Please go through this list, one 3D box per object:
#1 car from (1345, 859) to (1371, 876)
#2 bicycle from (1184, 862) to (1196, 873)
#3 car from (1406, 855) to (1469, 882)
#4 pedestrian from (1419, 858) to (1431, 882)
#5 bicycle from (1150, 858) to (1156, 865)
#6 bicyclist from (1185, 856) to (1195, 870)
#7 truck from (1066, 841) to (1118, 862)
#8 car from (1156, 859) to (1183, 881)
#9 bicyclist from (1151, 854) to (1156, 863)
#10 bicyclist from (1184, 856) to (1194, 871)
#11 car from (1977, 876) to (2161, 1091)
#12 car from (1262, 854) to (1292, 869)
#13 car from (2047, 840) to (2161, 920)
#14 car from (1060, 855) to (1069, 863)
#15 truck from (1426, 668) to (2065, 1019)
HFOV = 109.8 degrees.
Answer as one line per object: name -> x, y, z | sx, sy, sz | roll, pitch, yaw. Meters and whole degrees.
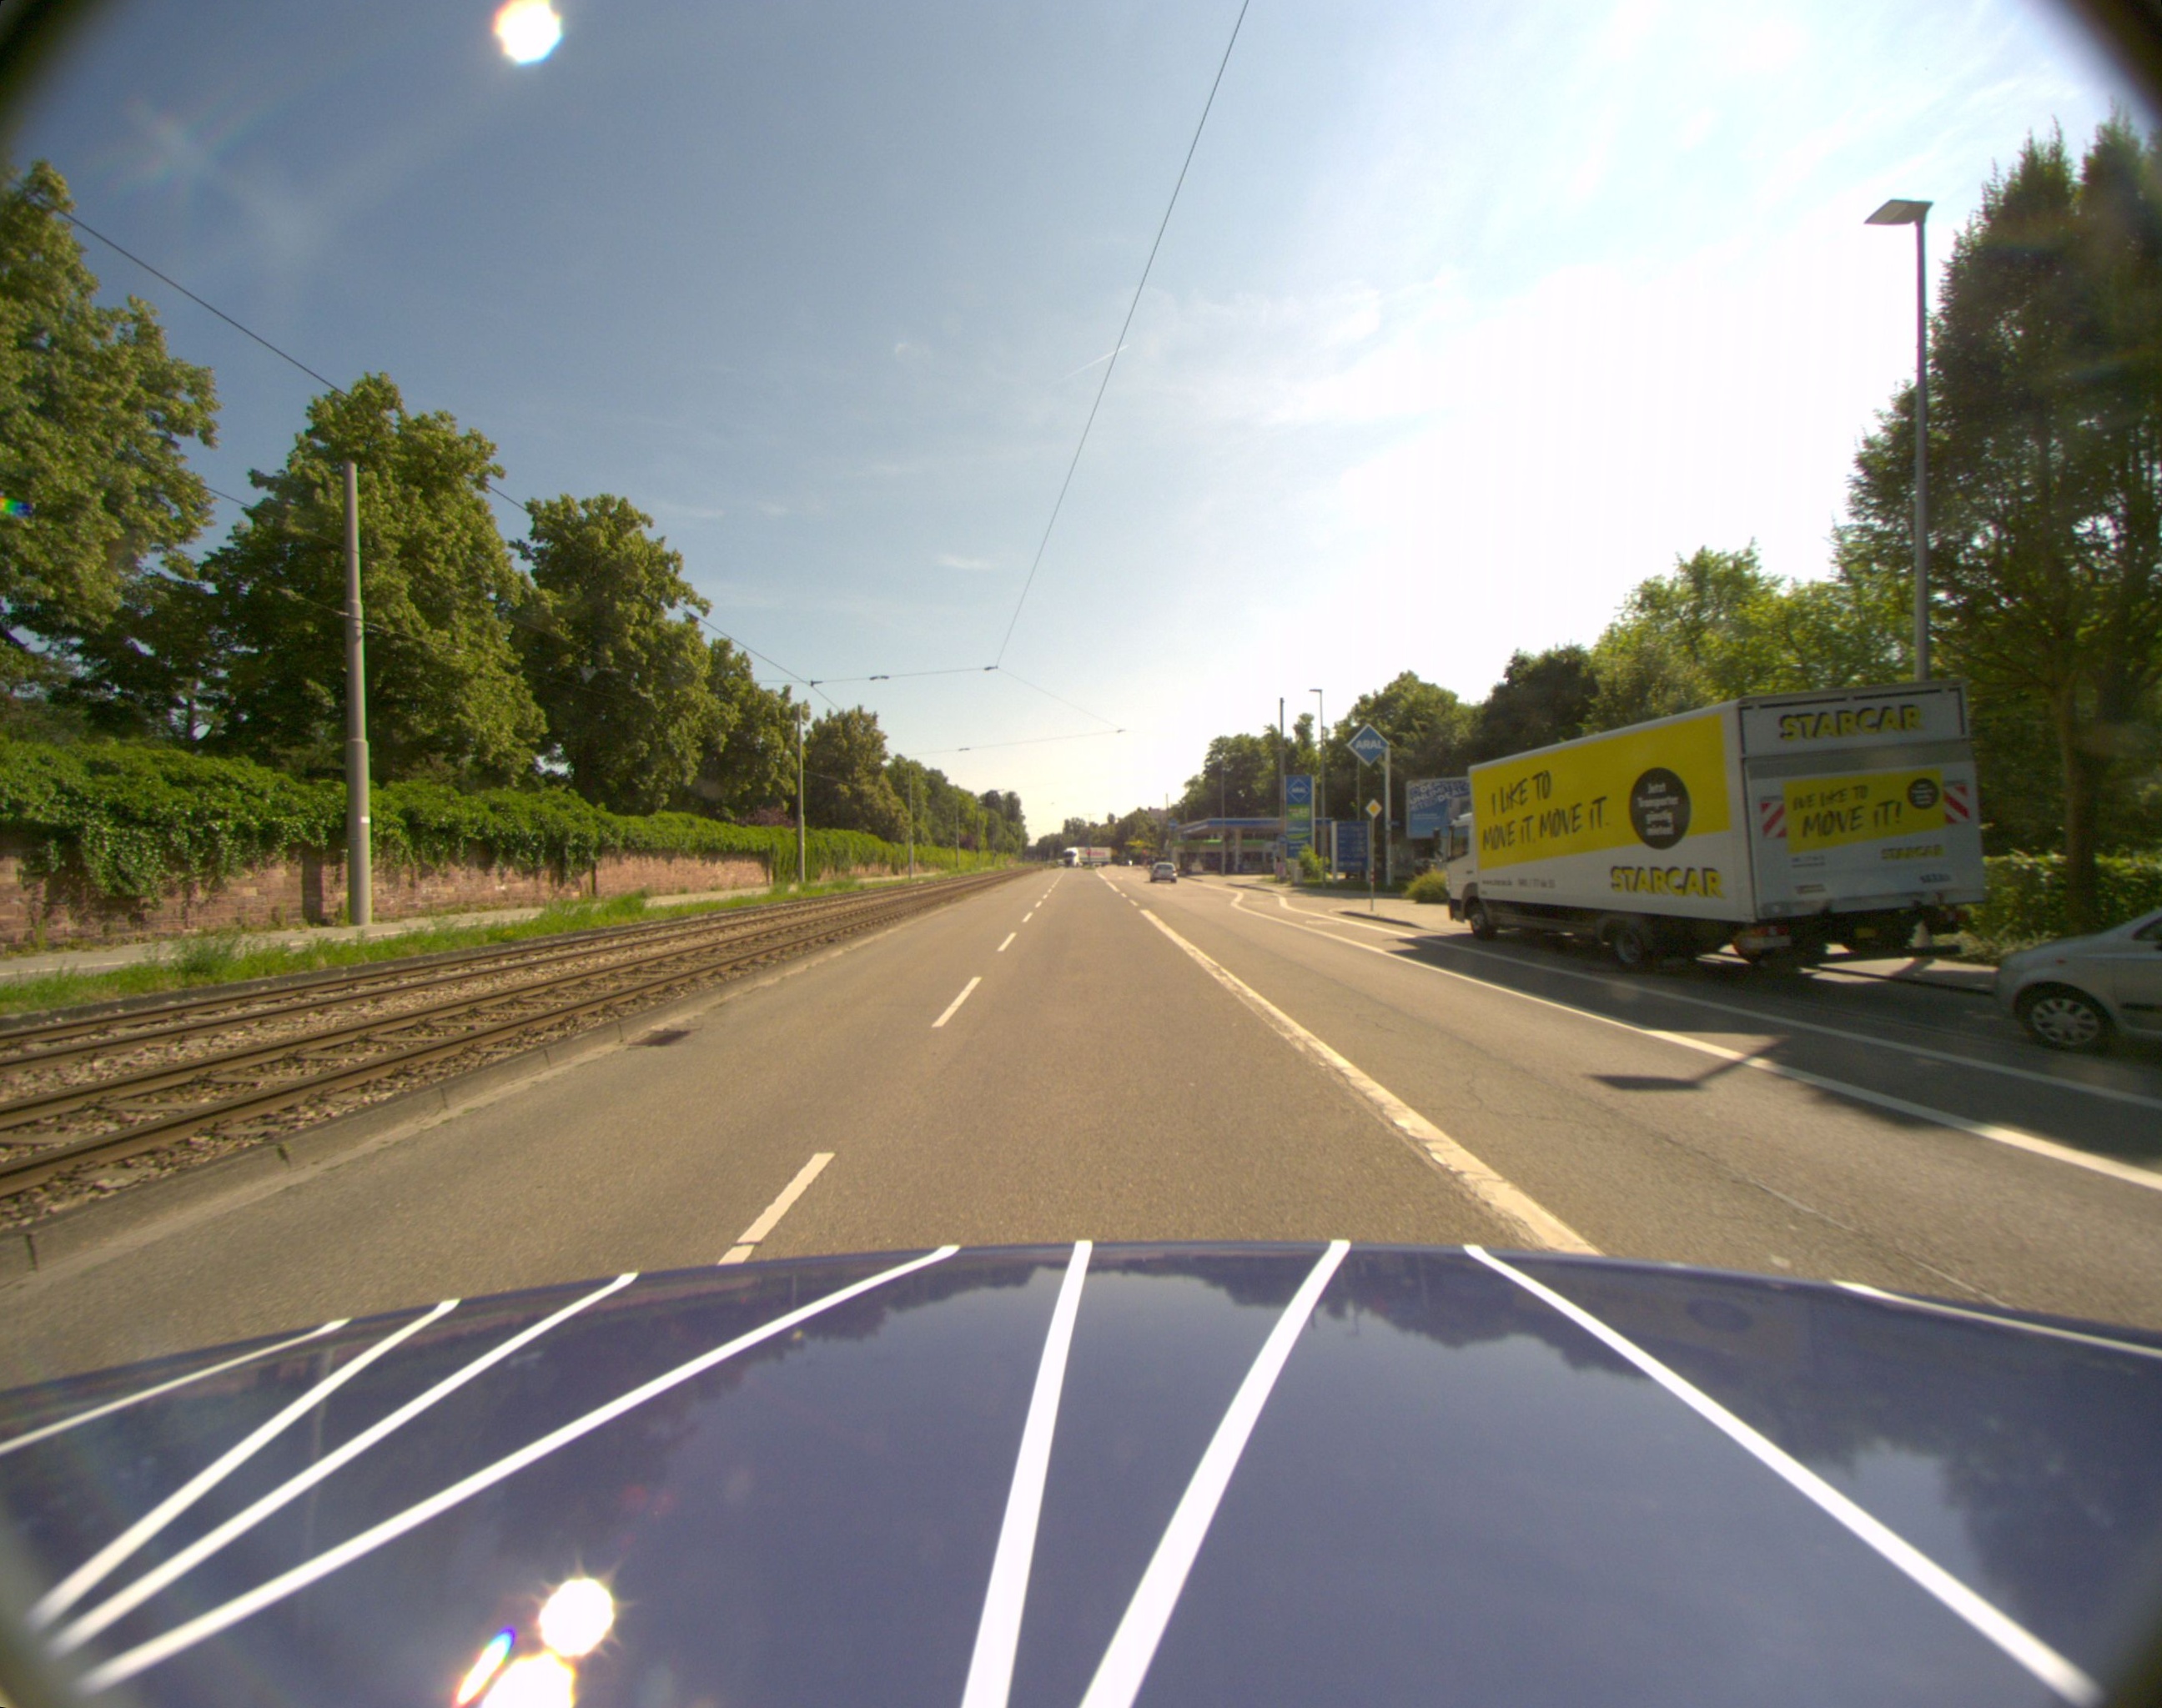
car -> 23.353, 1.125, 64.030 | 1.801, 1.338, 4.250 | 0, 0, 23
bicycle -> 10.976, 1.362, 76.623 | 0.827, 1.088, 2.773 | 0, 0, 2
car -> 22.070, 0.907, 47.208 | 1.804, 1.560, 4.518 | 0, -1, 0
pedestrian -> 20.905, 0.963, 46.161 | 0.500, 1.472, 0.500 | 0, 0, 0
bicycle -> 13.397, 1.374, 140.654 | 0.940, 1.168, 2.211 | 0, 0, 2
bicyclist -> 10.972, 0.930, 76.551 | 0.849, 1.427, 0.833 | 0, -1, 3
truck -> 2.395, -0.453, 154.100 | 2.846, 3.983, 14.334 | 0, 0, 35
car -> 6.034, 1.041, 52.272 | 1.662, 1.412, 4.311 | 1, 0, 4
bicyclist -> 13.380, 0.869, 140.502 | 0.837, 1.664, 0.827 | -1, -1, 0
bicyclist -> 11.018, 0.964, 77.354 | 0.849, 1.427, 0.833 | -1, -1, 2
car -> 8.690, 0.959, 4.840 | 1.614, 1.475, 3.635 | -2, 0, -1
car -> 23.046, 0.853, 89.535 | 1.849, 1.771, 5.964 | 0, 0, -1
car -> 35.014, 0.832, 24.742 | 4.179, 2.523, 1.790 | 0, 0, 13
car -> -3.880, 1.165, 176.728 | 1.931, 1.593, 4.466 | -1, 0, -5
truck -> 8.785, -0.097, 12.112 | 2.673, 3.509, 8.590 | -2, 0, 1
